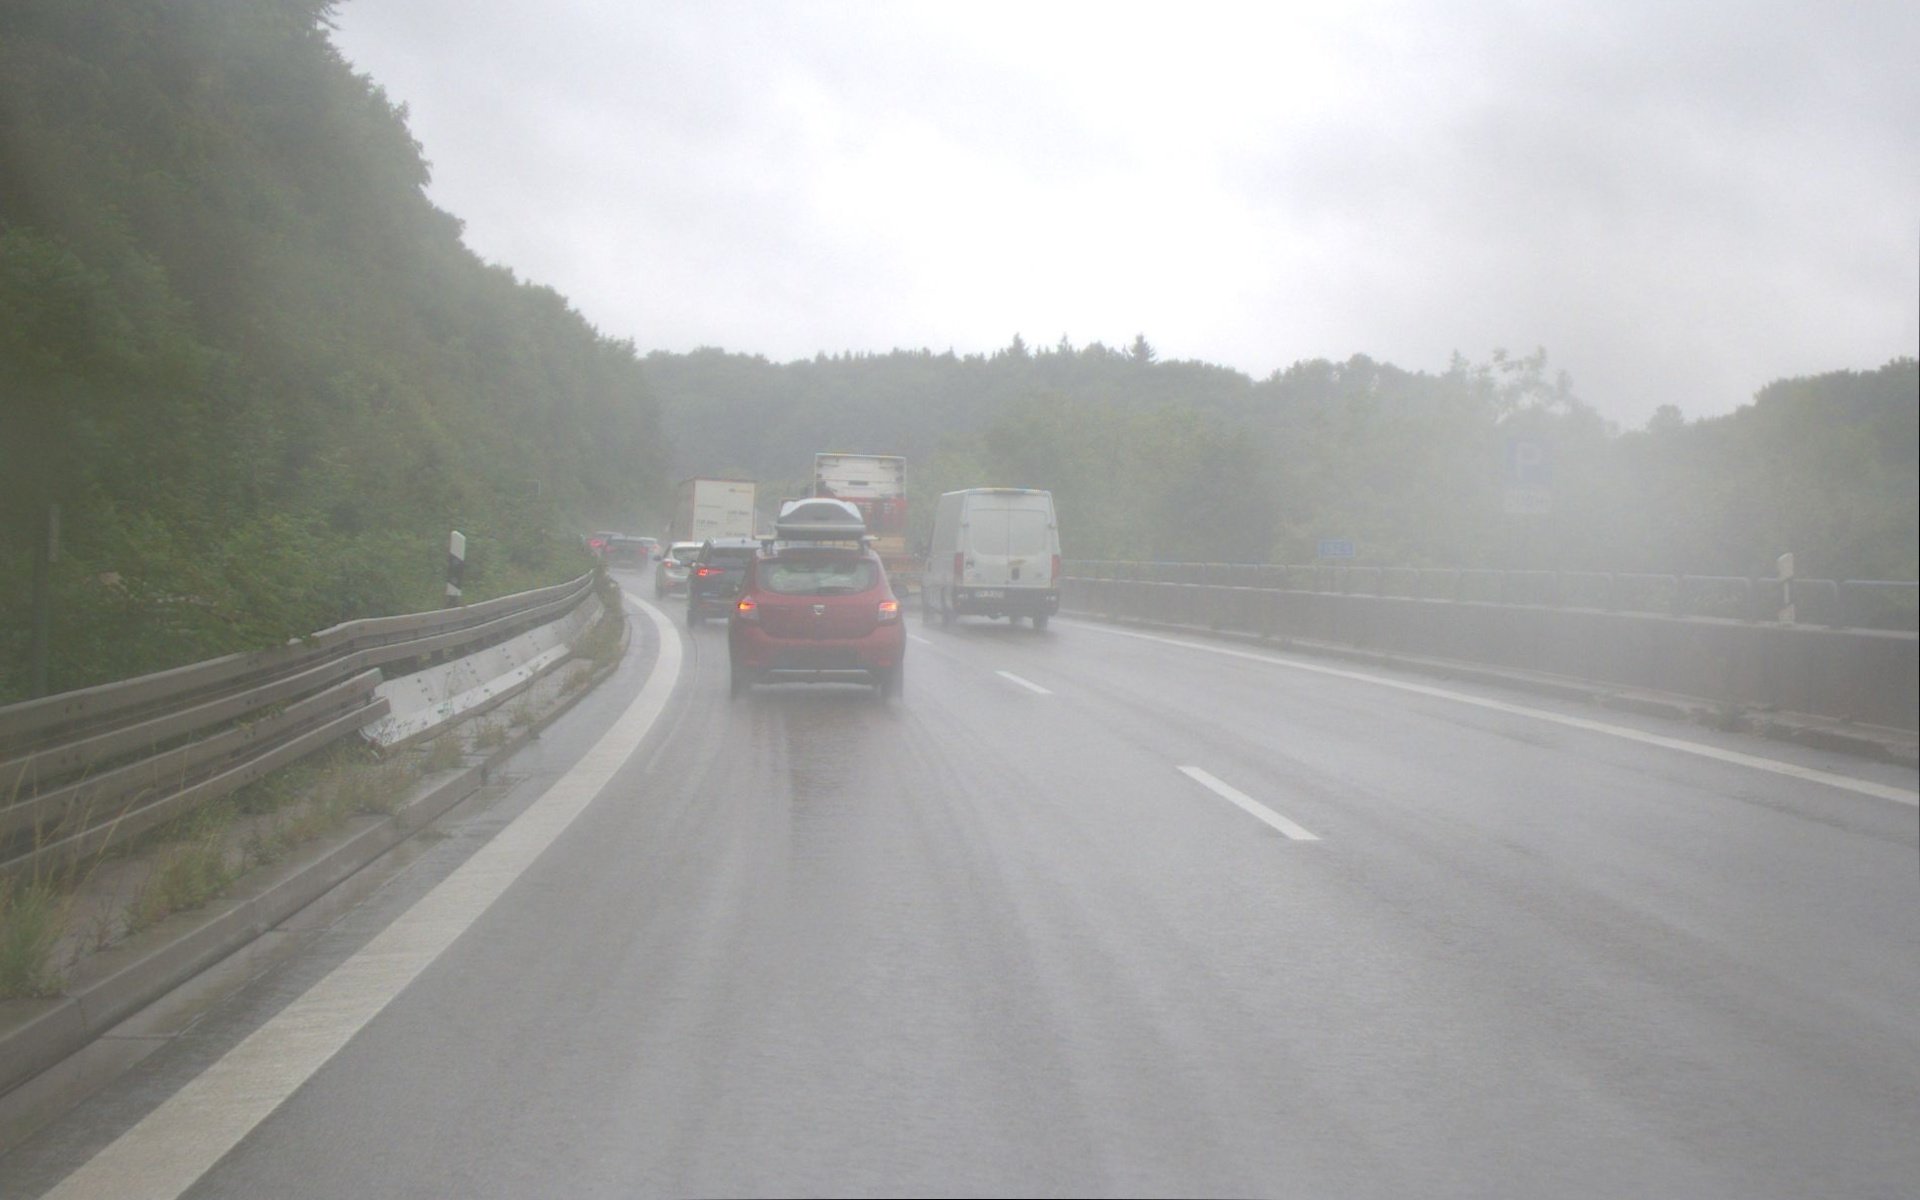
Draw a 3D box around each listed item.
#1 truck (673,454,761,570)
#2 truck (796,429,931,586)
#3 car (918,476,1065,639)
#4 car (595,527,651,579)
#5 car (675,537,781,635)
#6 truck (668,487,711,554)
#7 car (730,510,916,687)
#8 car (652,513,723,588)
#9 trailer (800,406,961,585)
[{"bbox_3d":[-10.172,-3.597,143.346,3.222,4.666,8.302,0,1,-7],"label":"truck"},{"bbox_3d":[-2.656,-2.471,93.002,3.219,3.964,5.440,3,1,-4],"label":"truck"},{"bbox_3d":[0.525,-0.806,65.522,2.206,2.784,7.383,4,1,-3],"label":"car"},{"bbox_3d":[-13.326,-1.852,136.149,1.993,2.007,4.000,1,1,-3],"label":"car"},{"bbox_3d":[-4.145,-0.260,61.841,1.823,1.690,4.000,0,1,-3],"label":"car"},{"bbox_3d":[-14.144,-4.108,179.716,2.105,3.409,6.224,0,1,-6],"label":"truck"},{"bbox_3d":[-1.388,-0.031,34.834,1.758,1.679,4.000,1,1,-2],"label":"car"},{"bbox_3d":[-6.865,-1.240,86.352,1.716,1.811,3.893,0,1,-5],"label":"car"},{"bbox_3d":[-2.149,-2.508,86.138,3.218,3.985,13.526,3,1,-4],"label":"trailer"}]
